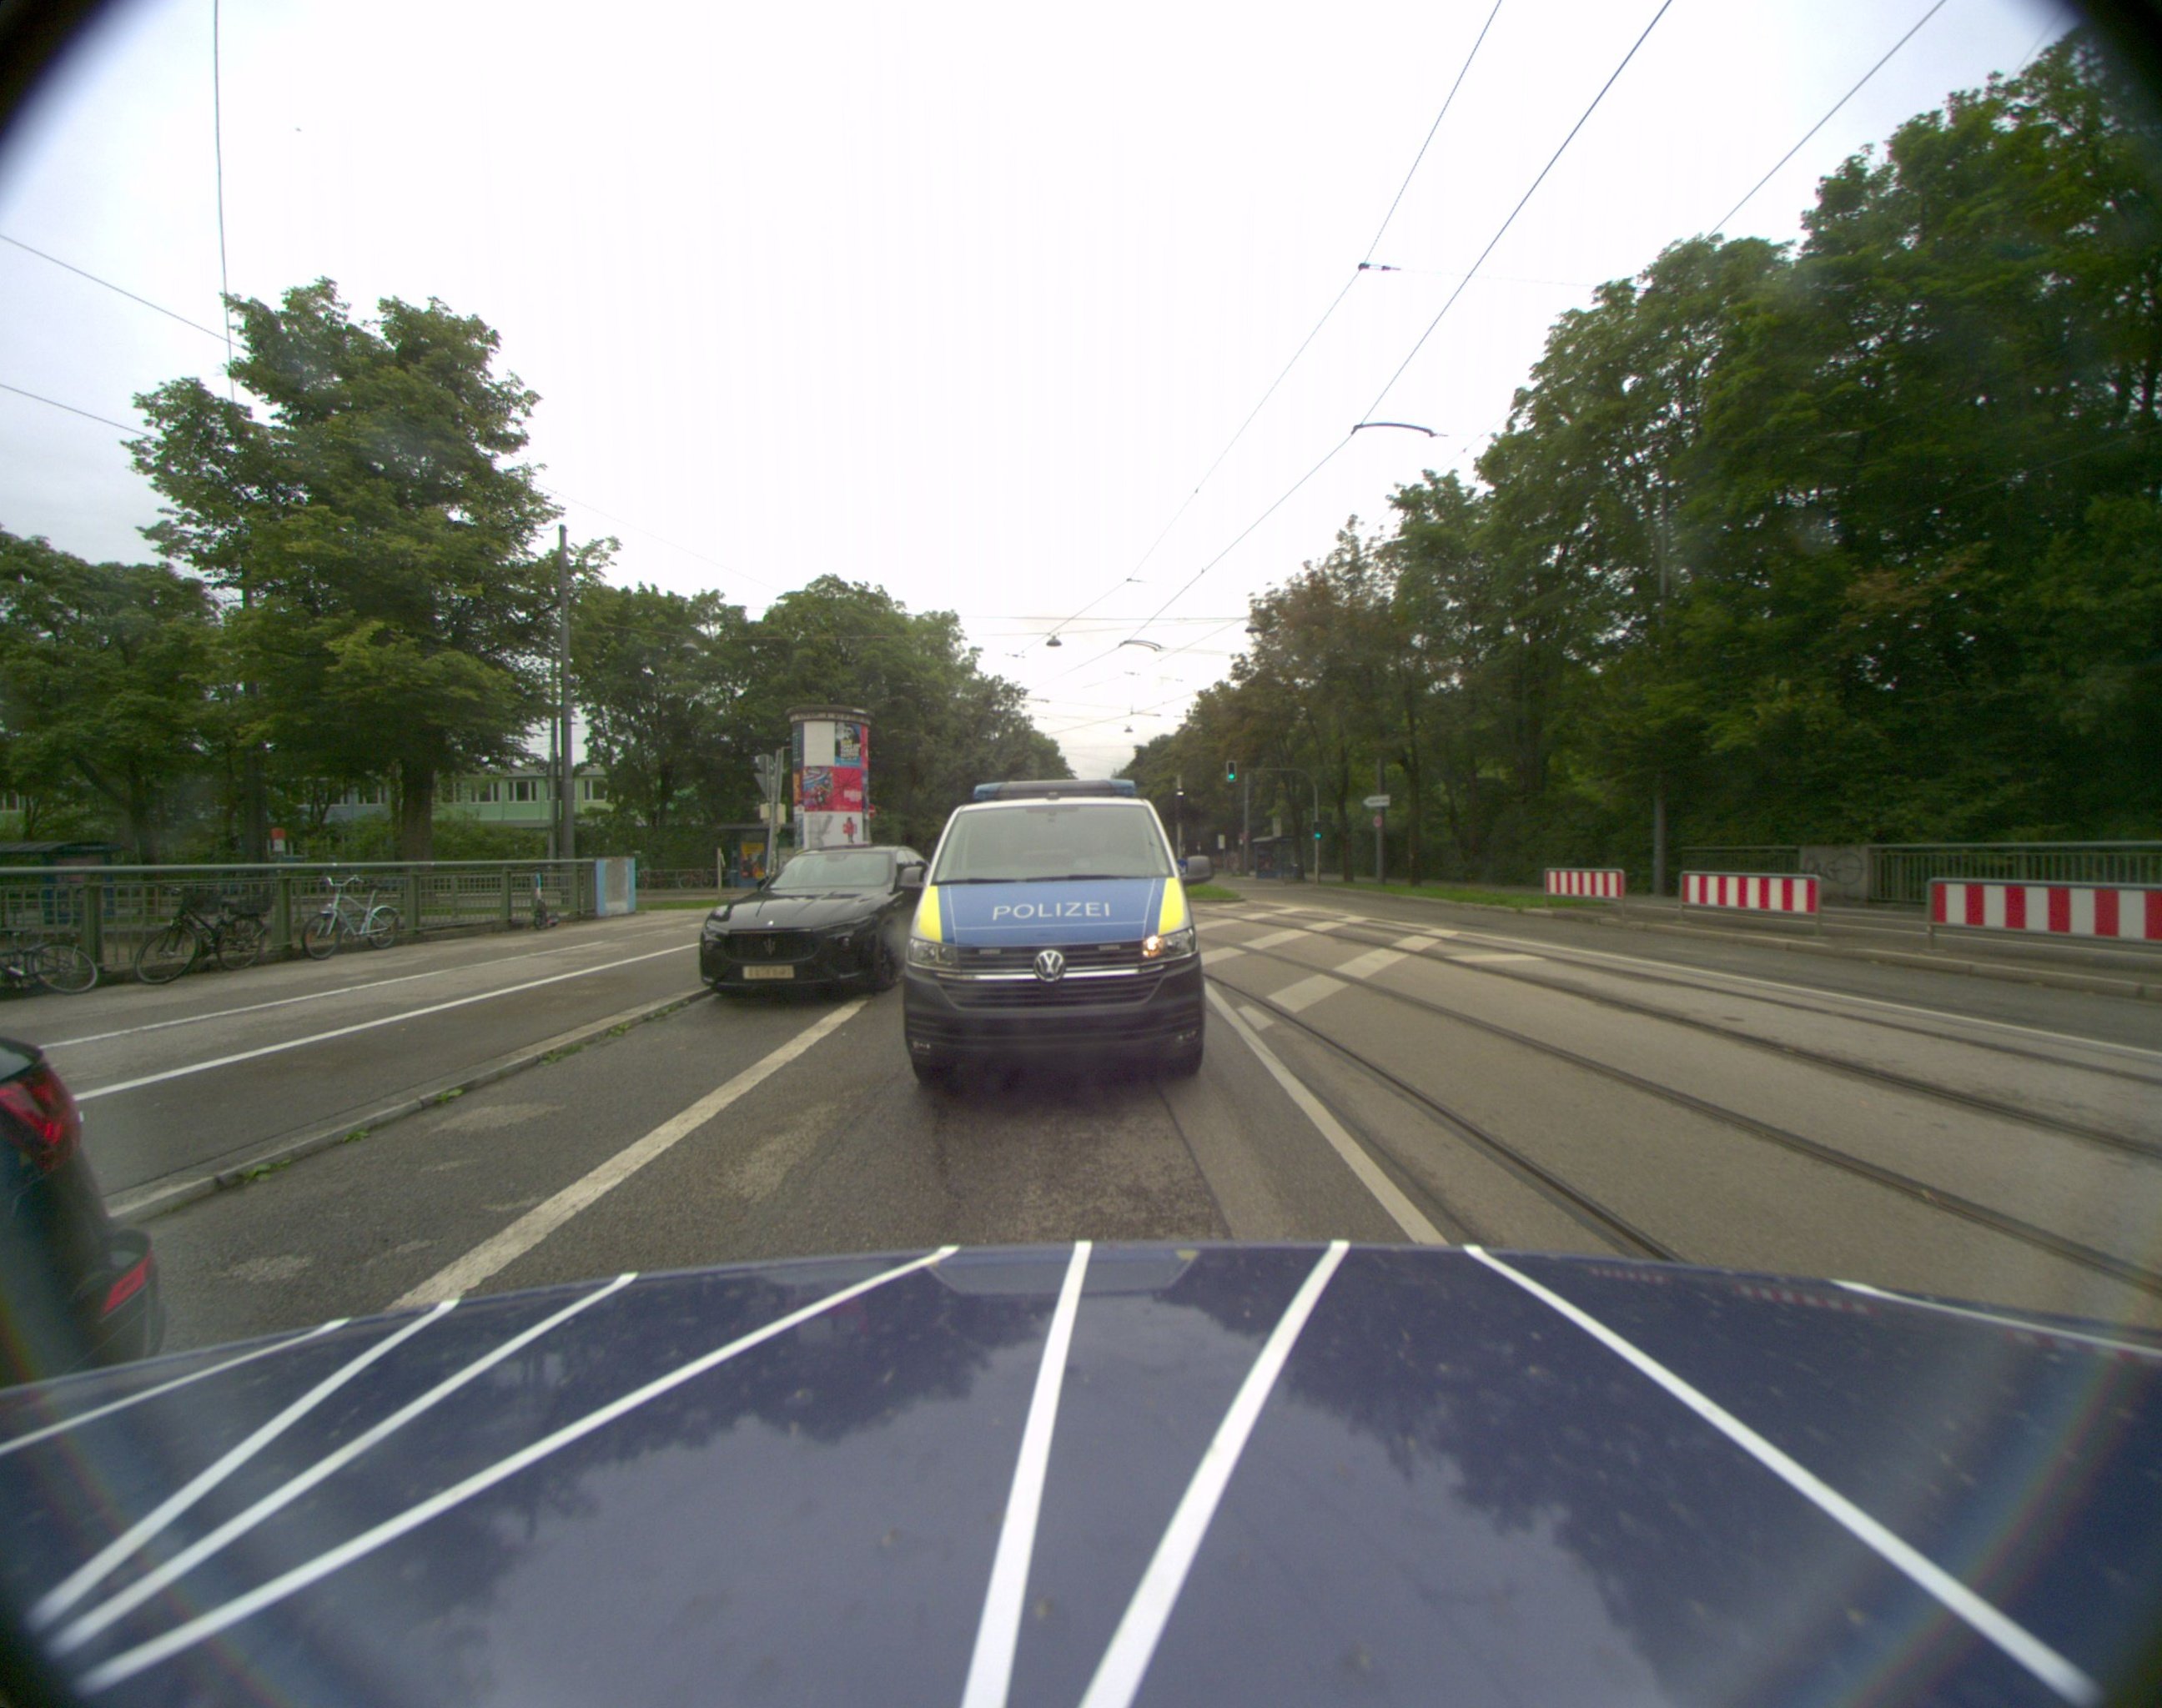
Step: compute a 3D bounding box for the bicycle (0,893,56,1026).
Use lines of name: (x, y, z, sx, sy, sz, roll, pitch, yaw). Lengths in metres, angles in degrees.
bicycle: (-10.729, 1.055, 7.187, 0.282, 1.274, 1.409, -3, 1, -11)

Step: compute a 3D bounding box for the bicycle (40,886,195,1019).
bicycle: (-10.576, 1.028, 8.400, 0.283, 1.274, 1.408, -3, 1, -19)

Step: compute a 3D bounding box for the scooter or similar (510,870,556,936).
scooter or similar: (-10.602, 0.933, 14.727, 0.225, 1.205, 1.020, -3, 1, -8)

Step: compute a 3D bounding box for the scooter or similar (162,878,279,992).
scooter or similar: (-10.576, 0.948, 9.390, 0.245, 1.255, 1.493, -3, 1, -21)

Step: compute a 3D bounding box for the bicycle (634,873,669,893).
bicycle: (-20.893, 1.408, 36.998, 1.483, 0.946, 0.373, -1, 1, 3)

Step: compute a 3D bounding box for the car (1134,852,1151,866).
car: (8.646, 0.672, 107.009, 1.888, 1.716, 3.999, -3, 1, -1)

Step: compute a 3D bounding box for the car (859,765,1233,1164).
car: (-0.218, 0.539, 6.776, 1.903, 2.041, 5.707, -1, 1, -1)

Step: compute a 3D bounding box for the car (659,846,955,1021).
car: (-3.015, 0.764, 9.619, 1.905, 1.600, 4.665, -3, 0, 1)

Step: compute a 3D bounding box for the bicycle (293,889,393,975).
bicycle: (-10.725, 1.096, 11.095, 0.265, 1.076, 1.540, -3, 1, -14)

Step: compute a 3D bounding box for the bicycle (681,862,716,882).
bicycle: (-18.542, 0.884, 36.828, 1.483, 0.946, 0.373, -1, 1, 3)

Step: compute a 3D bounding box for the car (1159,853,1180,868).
car: (10.048, 0.686, 86.824, 1.888, 1.532, 3.999, -3, 1, 0)

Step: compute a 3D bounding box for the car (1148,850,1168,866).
car: (9.356, 0.488, 92.339, 1.888, 1.716, 3.999, -3, 1, -1)
